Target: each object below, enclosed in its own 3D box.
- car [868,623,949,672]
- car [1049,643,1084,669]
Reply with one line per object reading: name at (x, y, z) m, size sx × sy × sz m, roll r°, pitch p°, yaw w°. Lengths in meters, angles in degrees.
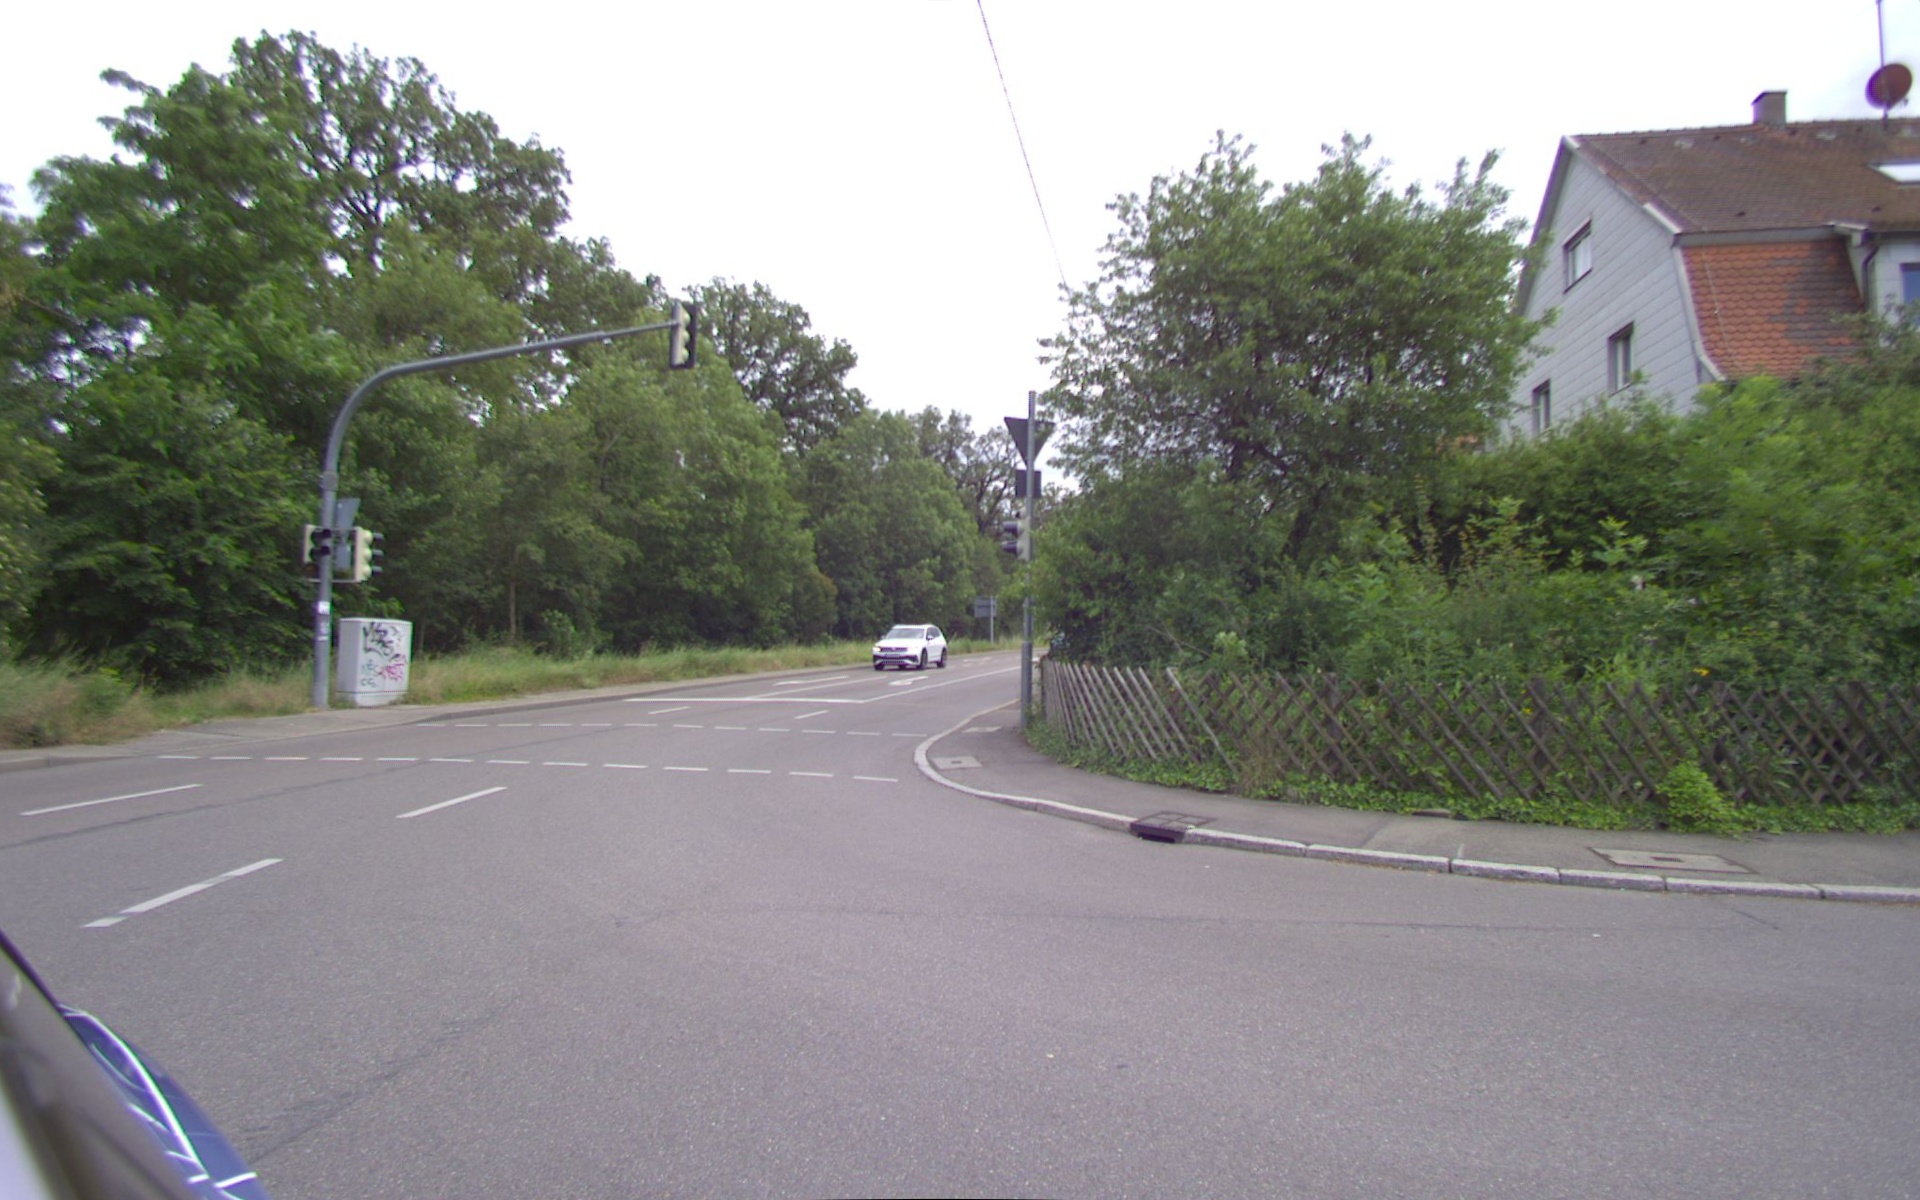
car at (-1.808, 1.749, 37.125) m, size 1.845 × 1.640 × 4.635 m, roll -1°, pitch -3°, yaw 12°
car at (6.552, 3.436, 62.272) m, size 1.768 × 1.522 × 3.585 m, roll -1°, pitch -3°, yaw 12°
